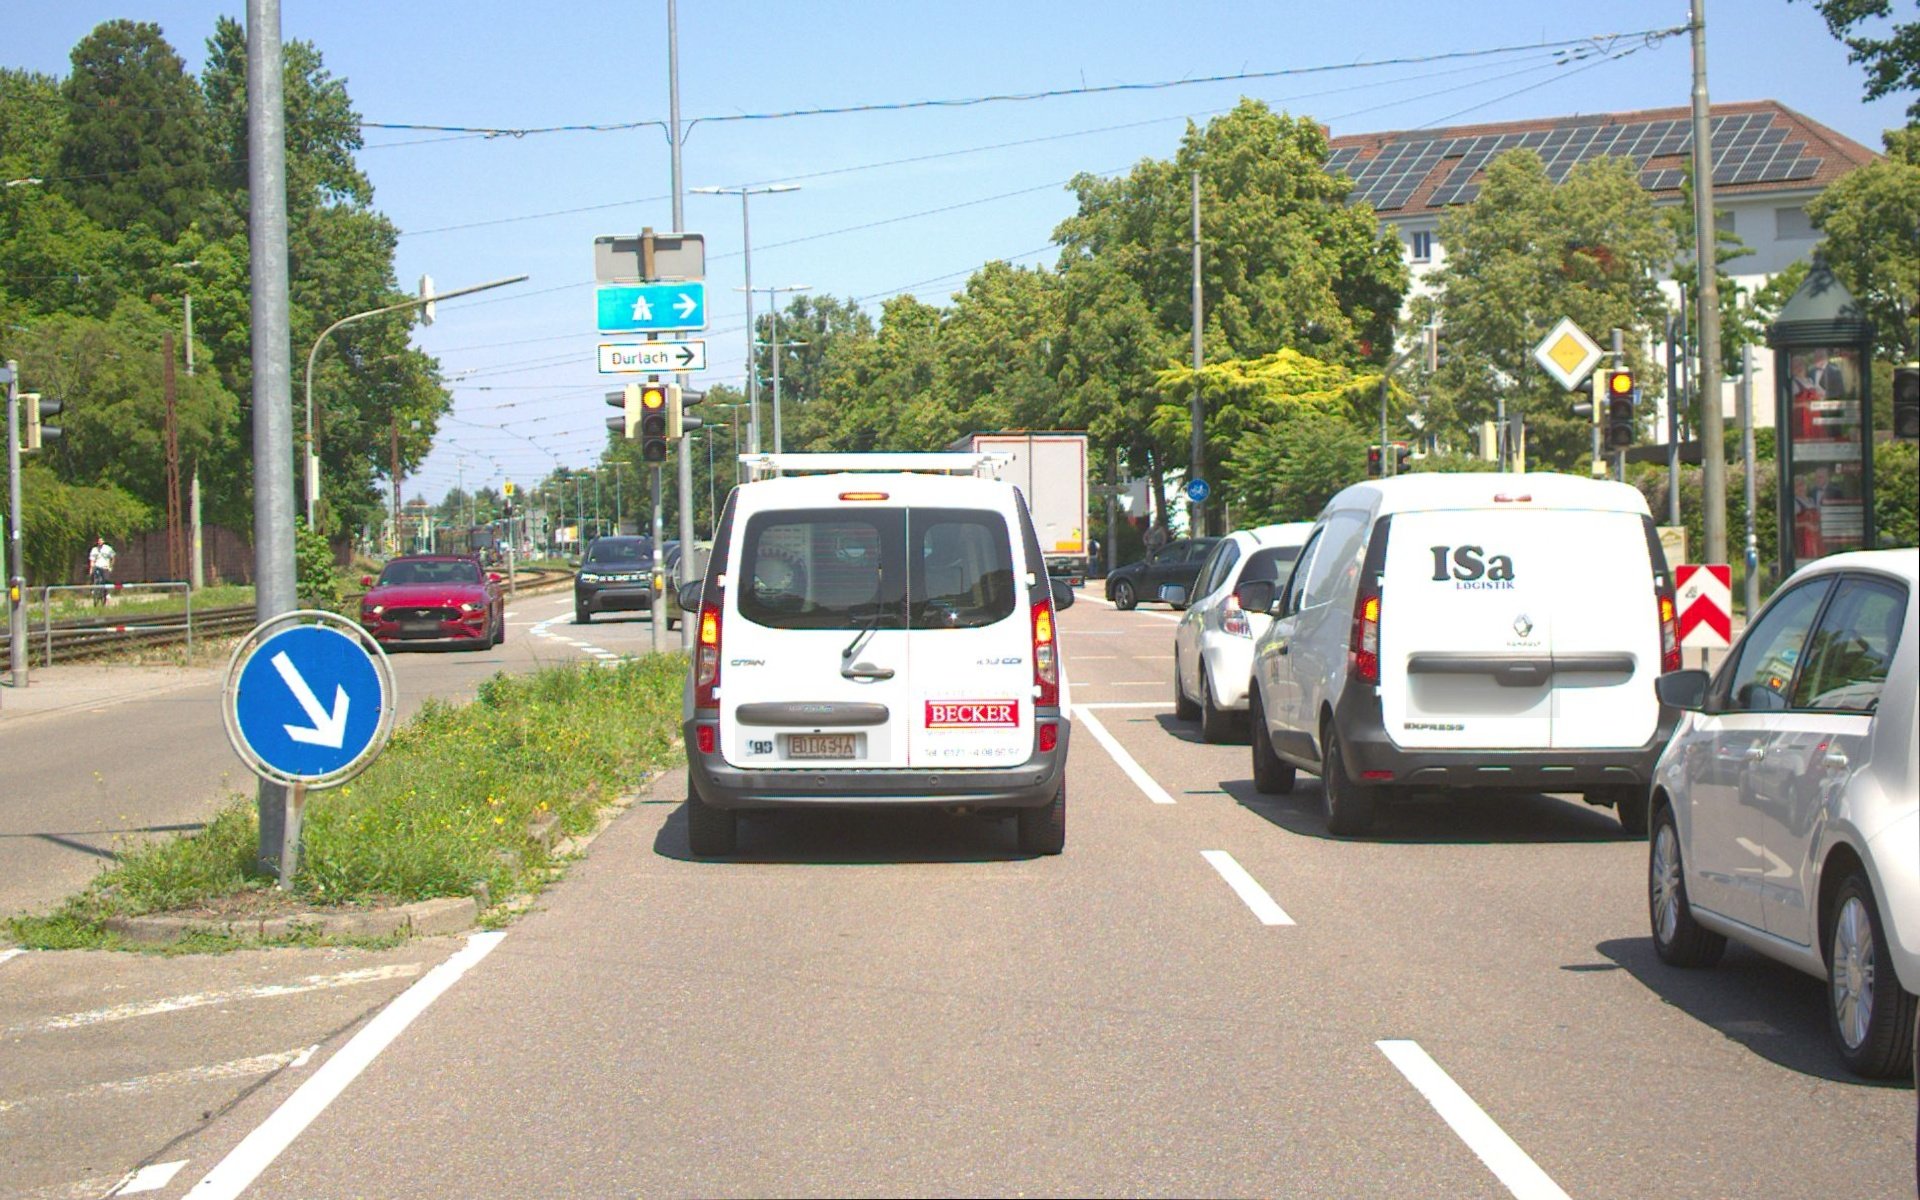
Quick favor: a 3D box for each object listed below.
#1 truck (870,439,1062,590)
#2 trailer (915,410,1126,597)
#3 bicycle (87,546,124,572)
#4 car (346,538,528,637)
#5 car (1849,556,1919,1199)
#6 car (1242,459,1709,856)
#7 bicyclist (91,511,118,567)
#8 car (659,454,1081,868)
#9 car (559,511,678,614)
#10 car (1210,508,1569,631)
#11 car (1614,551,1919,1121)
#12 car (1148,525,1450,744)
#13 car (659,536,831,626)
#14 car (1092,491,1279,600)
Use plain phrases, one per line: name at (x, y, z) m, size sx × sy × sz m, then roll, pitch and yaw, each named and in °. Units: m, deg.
truck at (0.042, -2.169, 88.118) m, size 3.575 × 3.620 × 8.811 m, roll -1°, pitch 1°, yaw -9°
trailer at (1.264, -2.194, 79.335) m, size 3.527 × 4.037 × 8.979 m, roll -1°, pitch 1°, yaw -7°
bicycle at (-22.545, -1.085, 90.711) m, size 0.561 × 0.645 × 1.720 m, roll -1°, pitch 1°, yaw 0°
car at (-7.668, -0.218, 50.771) m, size 1.984 × 1.354 × 4.539 m, roll -1°, pitch 1°, yaw 0°
car at (2.755, 0.668, 4.926) m, size 1.795 × 1.444 × 4.418 m, roll -1°, pitch 1°, yaw 0°
car at (2.560, 0.224, 17.970) m, size 1.710 × 1.824 × 4.014 m, roll -1°, pitch 1°, yaw -2°
bicyclist at (-22.551, -1.615, 90.637) m, size 0.558 × 1.473 × 0.561 m, roll -1°, pitch 1°, yaw 0°
car at (-0.458, 0.228, 17.154) m, size 1.866 × 1.829 × 3.849 m, roll 0°, pitch 1°, yaw -2°
car at (-6.508, -0.728, 65.172) m, size 1.993 × 1.853 × 4.001 m, roll -1°, pitch 1°, yaw -9°
car at (5.882, -0.417, 47.165) m, size 4.448 × 1.612 × 1.997 m, roll 0°, pitch 1°, yaw 31°
car at (3.172, 0.592, 10.618) m, size 1.607 × 1.446 × 3.521 m, roll 1°, pitch 1°, yaw 0°
car at (2.452, 0.192, 25.725) m, size 1.756 × 1.481 × 4.000 m, roll -1°, pitch 1°, yaw -1°
car at (-3.503, -0.322, 55.296) m, size 1.538 × 1.374 × 4.003 m, roll -1°, pitch 1°, yaw -22°
car at (4.319, -1.058, 66.507) m, size 1.993 × 2.007 × 4.001 m, roll -1°, pitch 1°, yaw -23°
